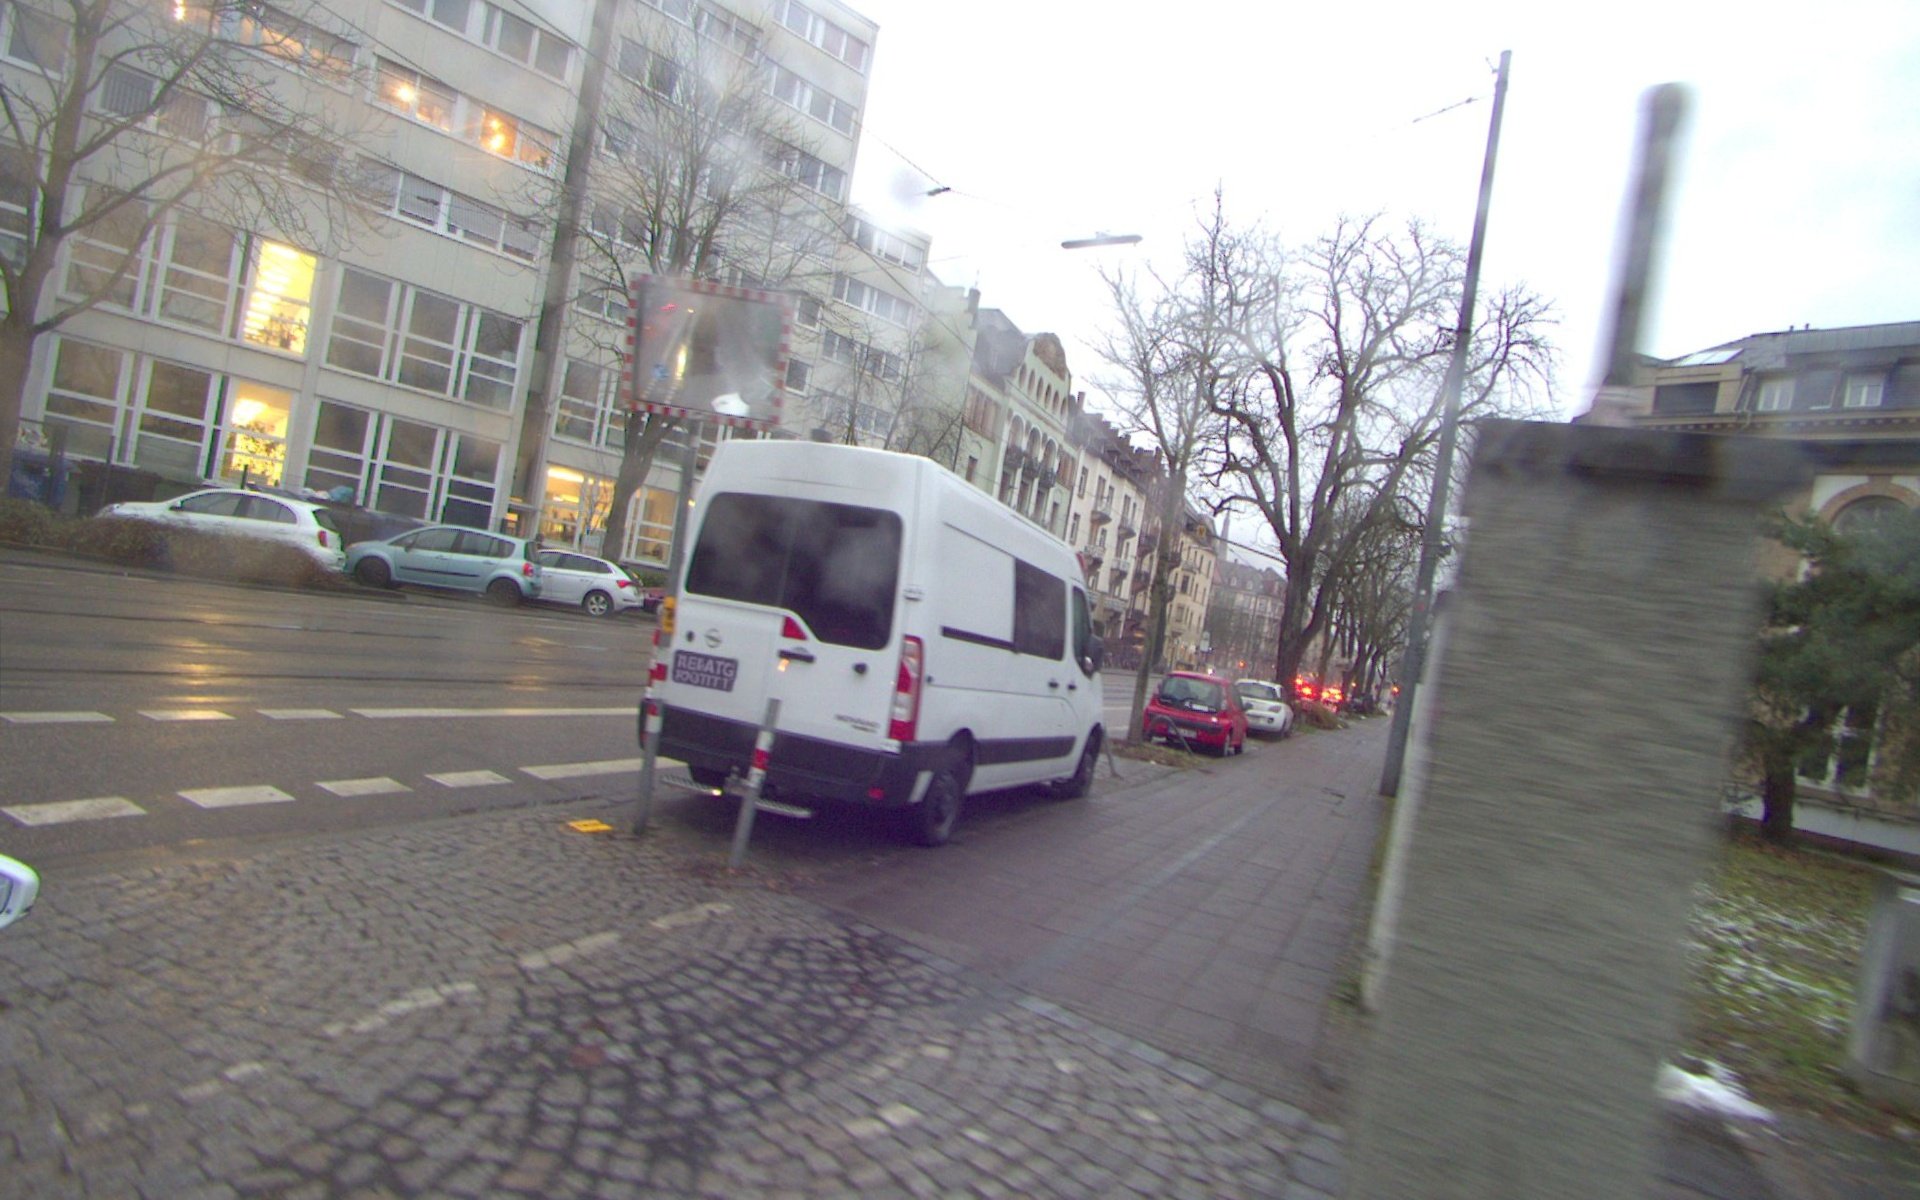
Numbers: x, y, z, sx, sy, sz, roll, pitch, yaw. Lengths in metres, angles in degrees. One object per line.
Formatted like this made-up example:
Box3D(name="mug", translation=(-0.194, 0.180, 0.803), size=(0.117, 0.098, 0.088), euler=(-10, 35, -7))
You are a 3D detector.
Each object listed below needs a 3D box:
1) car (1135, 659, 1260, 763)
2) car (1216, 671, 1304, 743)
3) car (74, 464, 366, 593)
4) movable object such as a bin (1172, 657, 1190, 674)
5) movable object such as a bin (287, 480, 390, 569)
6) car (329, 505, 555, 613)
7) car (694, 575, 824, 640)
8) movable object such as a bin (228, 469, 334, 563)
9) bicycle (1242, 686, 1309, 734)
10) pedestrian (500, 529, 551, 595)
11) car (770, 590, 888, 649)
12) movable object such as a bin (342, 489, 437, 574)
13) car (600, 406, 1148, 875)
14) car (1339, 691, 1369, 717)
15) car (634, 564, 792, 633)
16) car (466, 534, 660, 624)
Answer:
Box3D(name="car", translation=(4.712, 2.090, 19.586), size=(1.618, 1.541, 3.573), euler=(11, 0, 22))
Box3D(name="car", translation=(8.203, 2.854, 27.331), size=(1.666, 1.537, 3.637), euler=(9, -1, 24))
Box3D(name="car", translation=(-13.401, -1.258, 18.503), size=(3.825, 1.570, 1.685), euler=(10, 0, -20))
Box3D(name="movable object such as a bin", translation=(23.342, 6.949, 106.044), size=(1.388, 1.549, 1.364), euler=(9, 0, 25))
Box3D(name="movable object such as a bin", translation=(-15.477, -1.865, 25.068), size=(1.547, 1.883, 1.392), euler=(10, 1, 26))
Box3D(name="car", translation=(-11.116, -0.869, 21.888), size=(3.943, 1.582, 1.730), euler=(10, 0, -17))
Box3D(name="car", translation=(-6.619, 0.260, 33.397), size=(3.935, 1.480, 1.734), euler=(10, -1, -10))
Box3D(name="movable object such as a bin", translation=(-16.061, -1.979, 23.802), size=(1.547, 1.883, 1.316), euler=(10, 1, 26))
Box3D(name="bicycle", translation=(9.366, 3.257, 29.904), size=(1.688, 1.084, 0.663), euler=(10, 1, 25))
Box3D(name="pedestrian", translation=(-12.176, -1.059, 28.208), size=(0.588, 1.697, 0.973), euler=(9, 1, 25))
Box3D(name="car", translation=(-4.770, 0.705, 36.511), size=(3.802, 1.440, 1.728), euler=(10, 0, -21))
Box3D(name="movable object such as a bin", translation=(-14.889, -1.772, 26.282), size=(1.547, 1.883, 1.316), euler=(10, 1, 26))
Box3D(name="car", translation=(-0.157, 0.349, 8.518), size=(2.092, 2.516, 5.439), euler=(8, -1, 22))
Box3D(name="car", translation=(28.065, 7.371, 71.601), size=(1.652, 1.477, 4.043), euler=(9, -1, 24))
Box3D(name="car", translation=(-7.494, -0.054, 30.545), size=(4.294, 1.367, 1.740), euler=(10, -1, -23))
Box3D(name="car", translation=(-9.574, -0.480, 24.556), size=(3.934, 1.460, 1.735), euler=(10, -1, -8))
